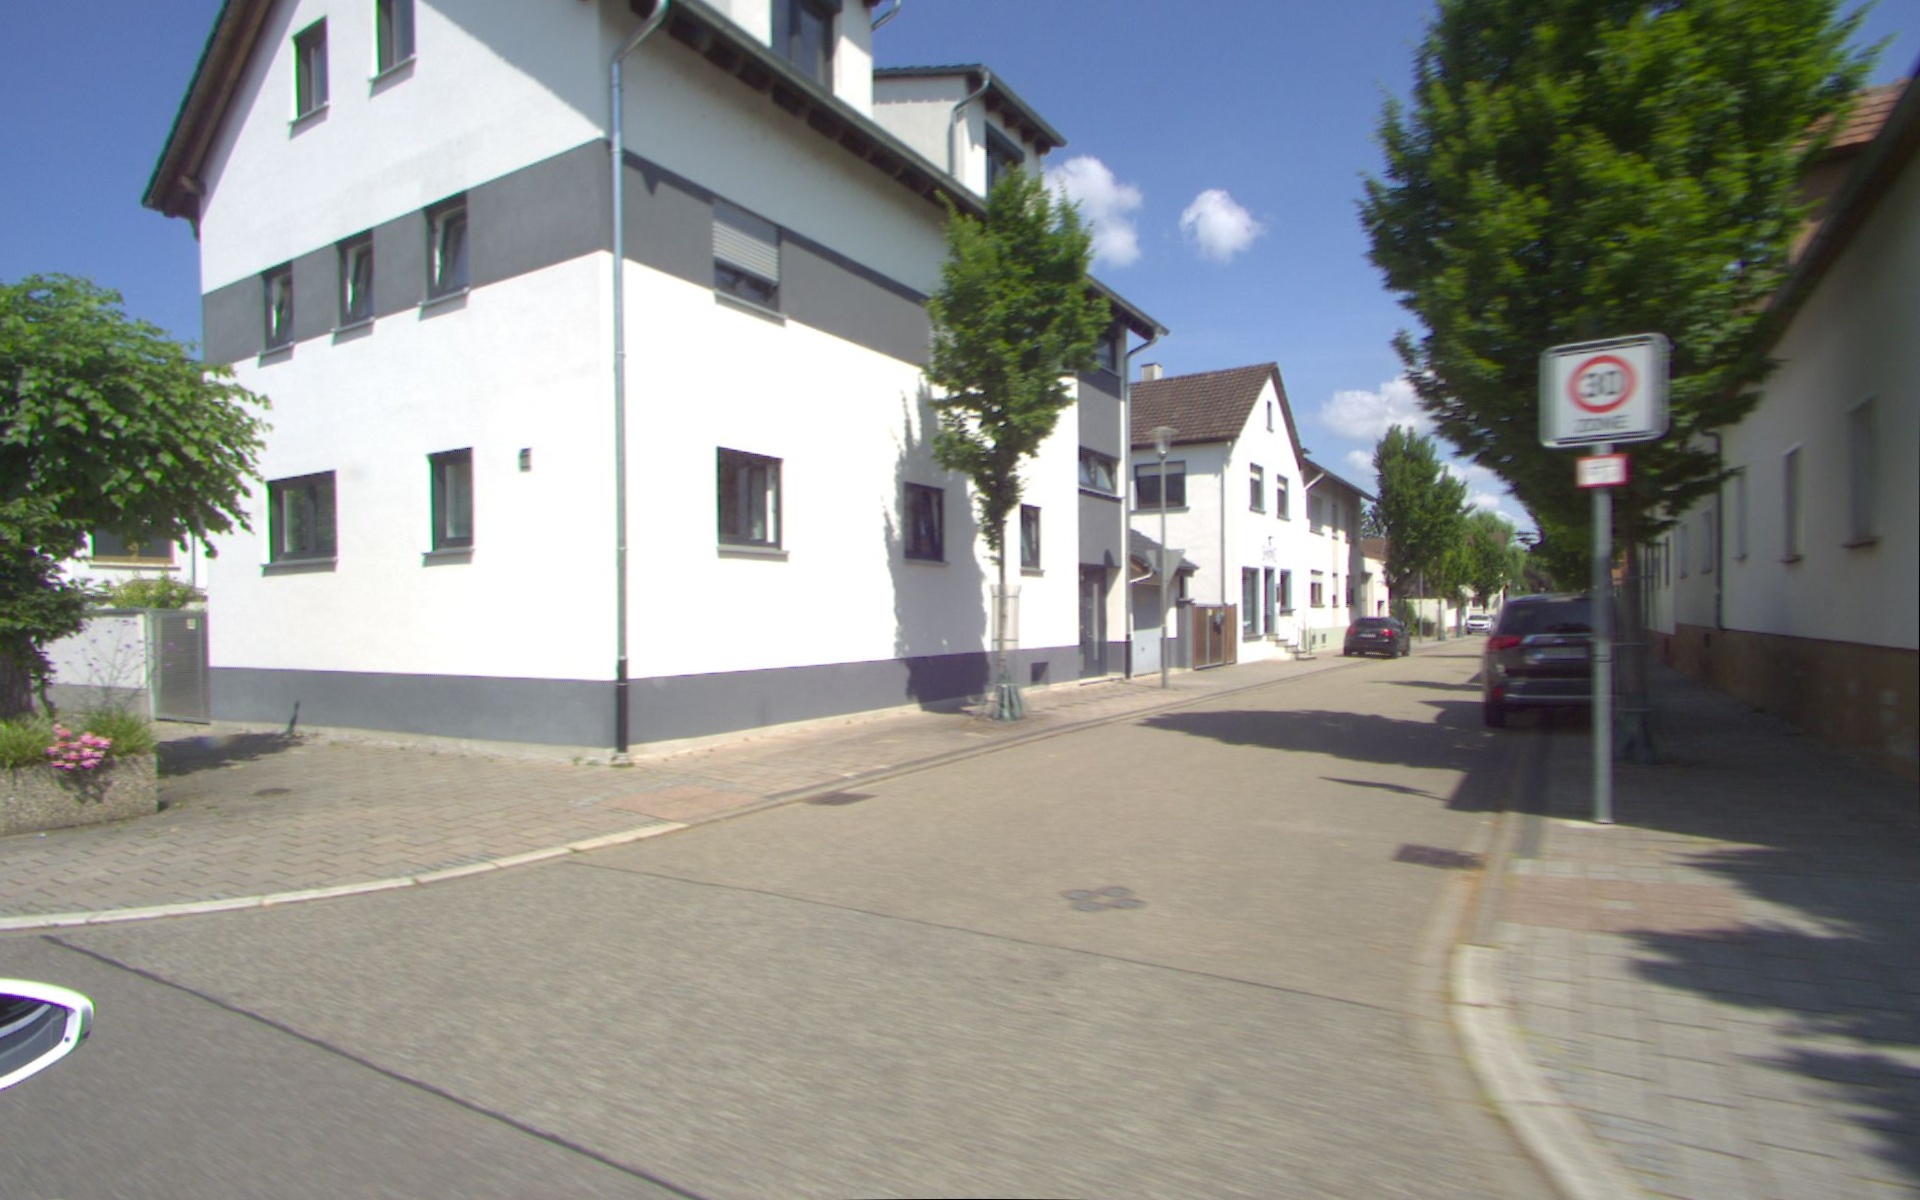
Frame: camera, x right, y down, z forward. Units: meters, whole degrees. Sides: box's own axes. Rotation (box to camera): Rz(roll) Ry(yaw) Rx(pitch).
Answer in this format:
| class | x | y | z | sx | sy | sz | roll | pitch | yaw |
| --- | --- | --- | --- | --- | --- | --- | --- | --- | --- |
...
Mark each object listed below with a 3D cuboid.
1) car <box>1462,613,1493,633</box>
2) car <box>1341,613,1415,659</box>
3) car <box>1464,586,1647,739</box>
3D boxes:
| class | x | y | z | sx | sy | sz | roll | pitch | yaw |
| --- | --- | --- | --- | --- | --- | --- | --- | --- | --- |
| car | 40.243 | 1.771 | 77.808 | 1.748 | 1.513 | 4.044 | -1 | -1 | 32 |
| car | 14.801 | 1.213 | 35.385 | 1.730 | 1.457 | 4.044 | 2 | 1 | 32 |
| car | 7.976 | 0.733 | 13.389 | 1.803 | 1.694 | 4.157 | -1 | -1 | 32 |
